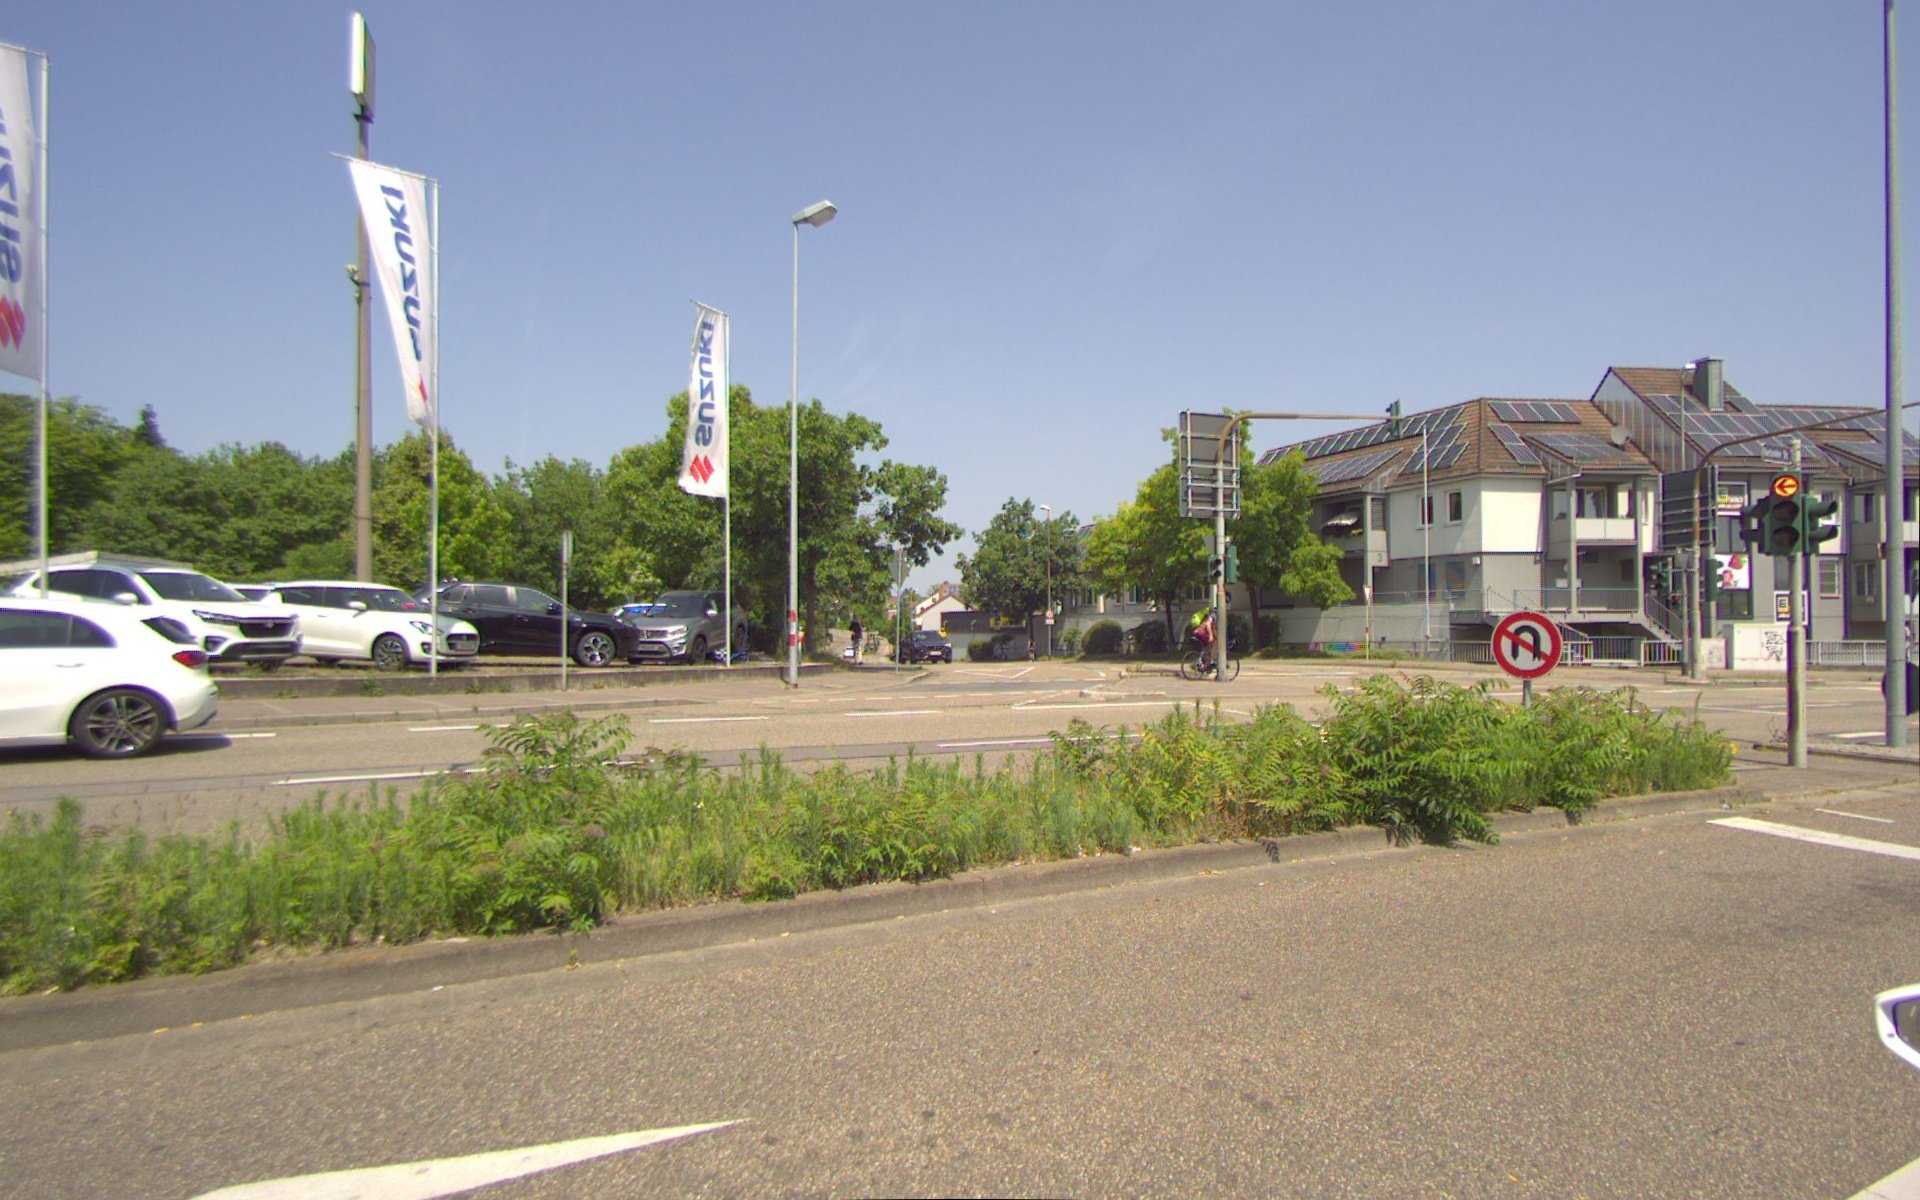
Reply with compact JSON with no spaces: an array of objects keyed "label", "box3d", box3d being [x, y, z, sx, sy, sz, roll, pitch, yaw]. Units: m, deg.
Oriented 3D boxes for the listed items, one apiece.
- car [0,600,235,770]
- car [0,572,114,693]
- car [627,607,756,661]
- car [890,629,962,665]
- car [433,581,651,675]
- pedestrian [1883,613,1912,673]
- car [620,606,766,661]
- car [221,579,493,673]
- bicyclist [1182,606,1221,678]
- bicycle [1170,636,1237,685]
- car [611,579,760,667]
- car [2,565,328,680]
[{"label":"car","box3d":[-9.136,0.709,8.830,4.241,1.443,1.849,3,-2,-45]},{"label":"car","box3d":[-13.942,0.376,13.574,3.742,1.530,1.759,1,-1,8]},{"label":"car","box3d":[-9.166,1.150,34.335,3.948,1.730,1.895,2,-1,-26]},{"label":"car","box3d":[-1.609,2.159,45.618,1.973,1.505,4.422,0,-3,-20]},{"label":"car","box3d":[-8.639,0.608,20.834,3.964,1.746,1.833,3,-2,-28]},{"label":"pedestrian","box3d":[32.867,1.500,35.207,0.733,2.040,0.501,-1,1,-25]},{"label":"car","box3d":[-8.013,1.005,30.144,3.948,1.557,1.784,2,-1,-26]},{"label":"car","box3d":[-10.455,0.452,17.530,3.882,1.451,1.718,1,-2,12]},{"label":"bicyclist","box3d":[5.687,0.975,23.657,0.811,1.664,0.419,0,0,-31]},{"label":"bicycle","box3d":[5.758,1.415,23.716,1.769,1.068,0.418,0,0,-31]},{"label":"car","box3d":[-6.580,0.609,24.654,1.792,1.926,4.314,1,-3,10]},{"label":"car","box3d":[-12.221,0.316,15.548,3.882,1.561,1.920,1,-1,13]}]
